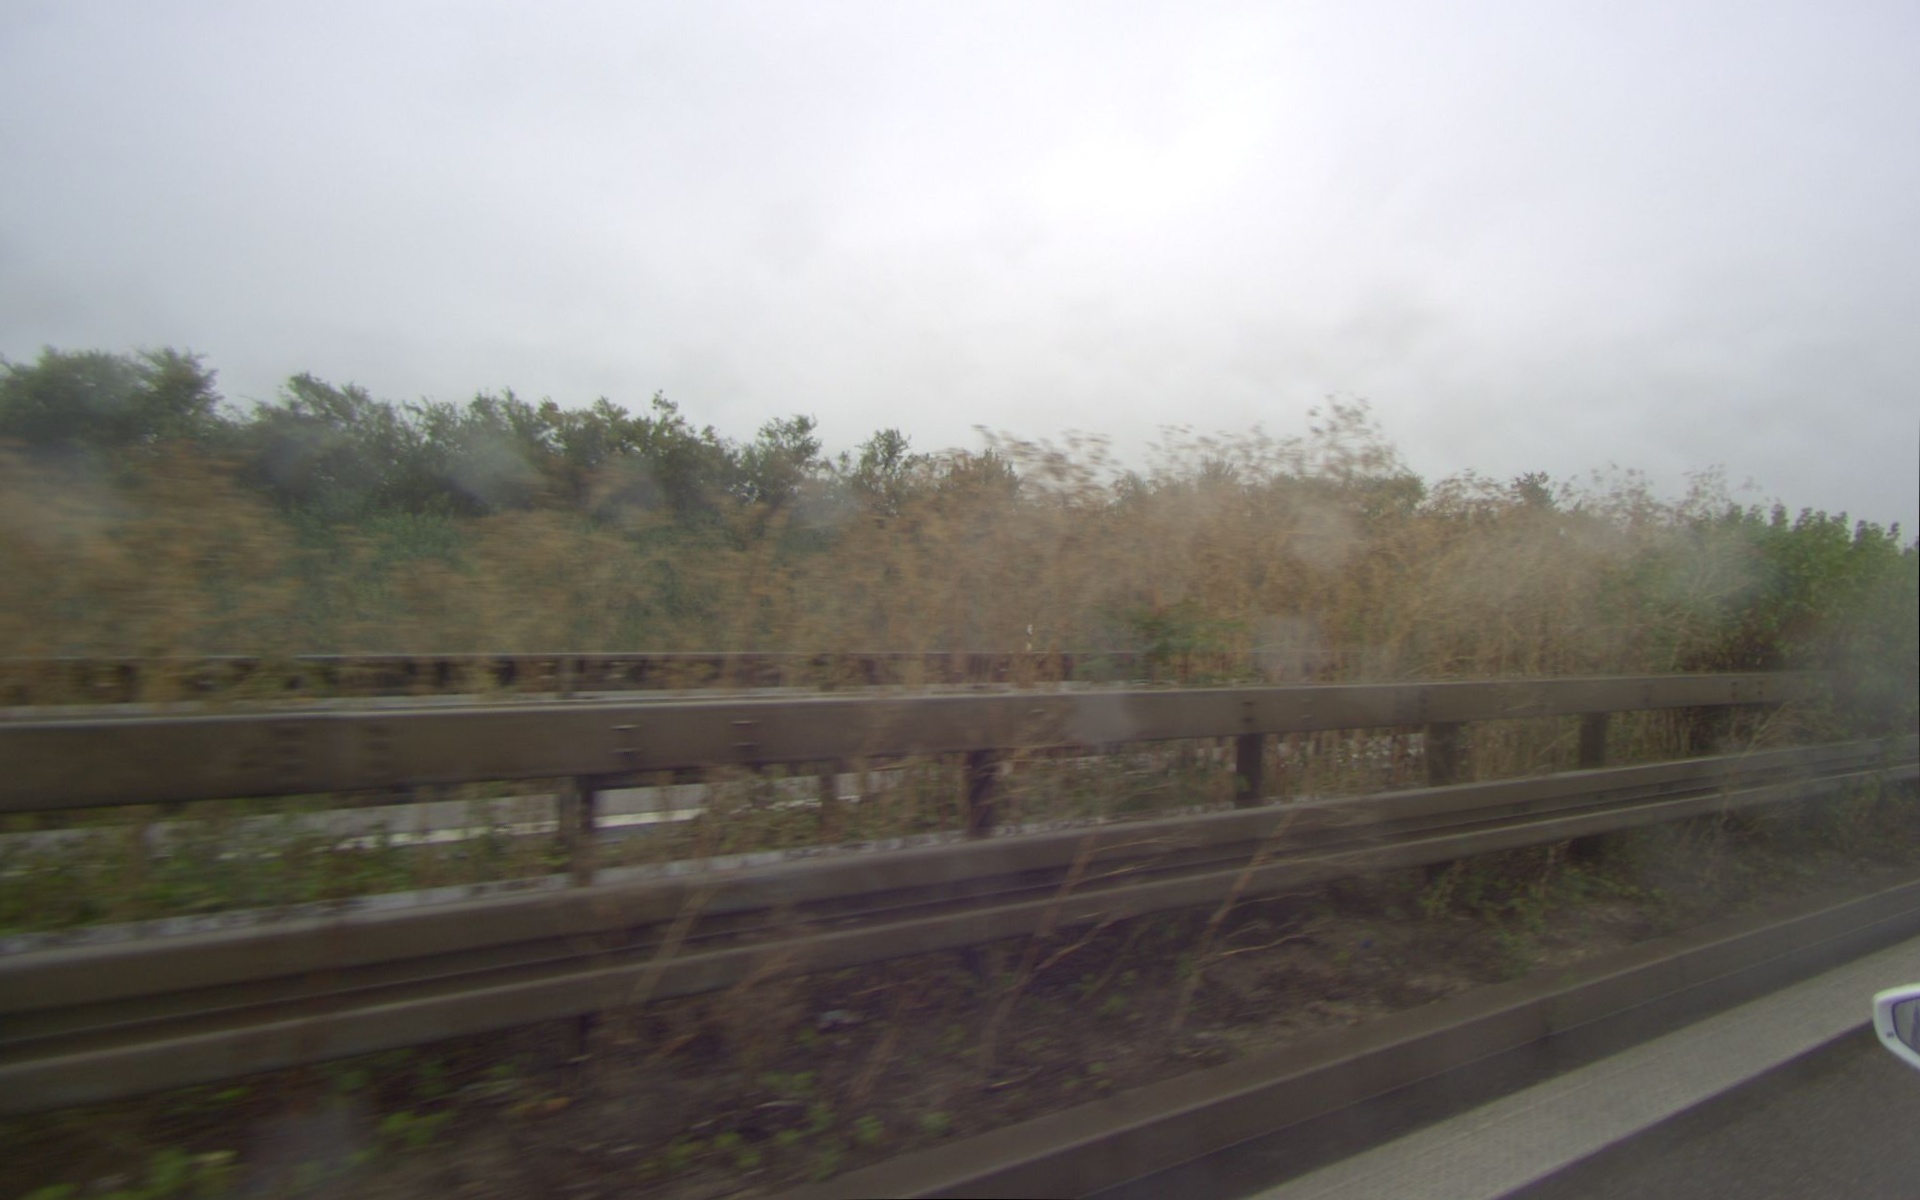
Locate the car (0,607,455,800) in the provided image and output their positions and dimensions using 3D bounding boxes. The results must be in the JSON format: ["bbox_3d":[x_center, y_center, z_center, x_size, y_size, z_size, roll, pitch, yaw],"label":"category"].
[{"bbox_3d":[-6.798,0.810,8.940,3.956,1.416,1.983,1,-1,-32],"label":"car"}]
